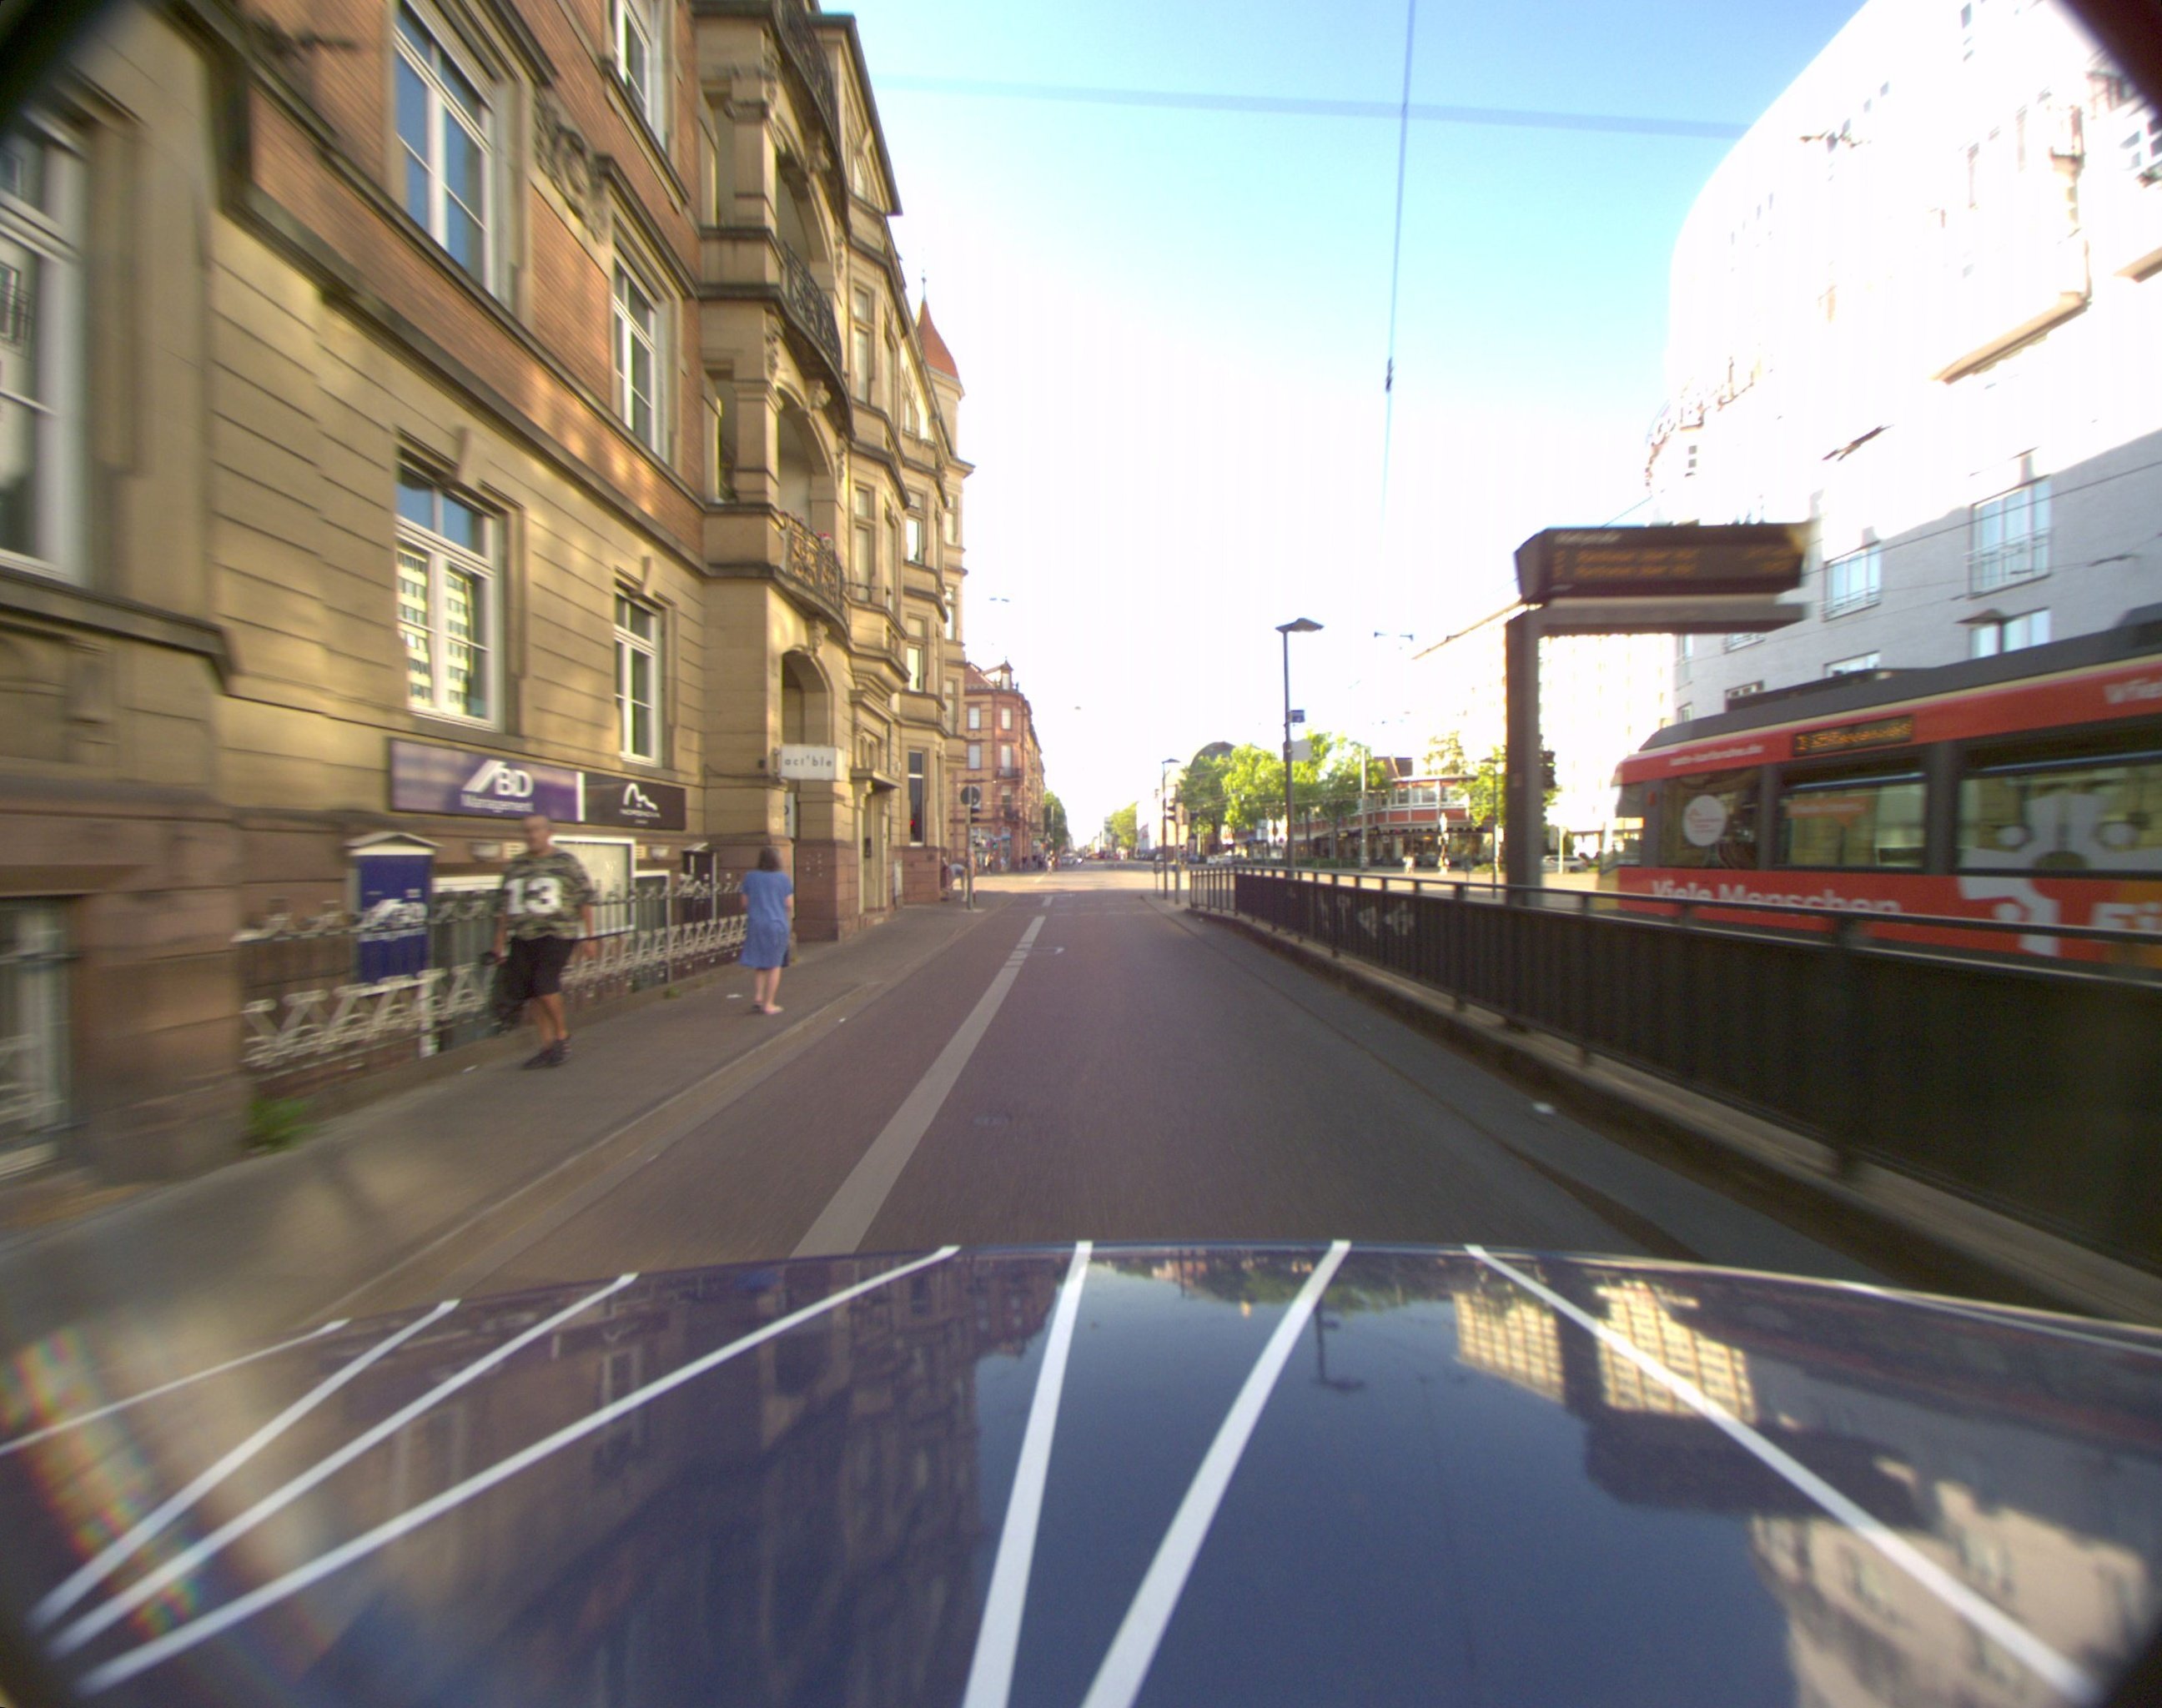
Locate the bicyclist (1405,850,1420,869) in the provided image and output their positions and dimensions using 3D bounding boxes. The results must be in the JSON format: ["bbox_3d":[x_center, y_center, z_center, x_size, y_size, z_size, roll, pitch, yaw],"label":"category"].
[{"bbox_3d":[25.986,0.436,59.579,0.842,1.458,0.897,1,0,10],"label":"bicyclist"}]

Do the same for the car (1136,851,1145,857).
[{"bbox_3d":[17.181,0.047,219.761,1.965,1.594,3.999,-1,1,-2],"label":"car"}]

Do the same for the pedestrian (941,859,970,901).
[{"bbox_3d":[-4.082,0.833,24.771,0.796,1.324,0.719,2,2,-2],"label":"pedestrian"}]

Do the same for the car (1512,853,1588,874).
[{"bbox_3d":[34.950,0.700,56.755,4.446,1.413,1.893,1,1,17],"label":"car"}]

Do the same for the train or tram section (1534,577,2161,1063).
[{"bbox_3d":[9.168,-0.276,5.886,2.892,3.470,14.164,-2,1,0],"label":"train or tram section"}]

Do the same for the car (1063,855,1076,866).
[{"bbox_3d":[-1.743,1.008,114.571,1.670,1.674,4.001,0,0,3],"label":"car"}]

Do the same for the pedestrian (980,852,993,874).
[{"bbox_3d":[-7.936,0.749,63.898,1.026,1.796,1.083,0,1,-3],"label":"pedestrian"}]

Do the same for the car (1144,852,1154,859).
[{"bbox_3d":[17.303,0.365,194.009,1.965,1.594,3.999,-1,1,-2],"label":"car"}]

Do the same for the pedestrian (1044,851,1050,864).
[{"bbox_3d":[-4.583,0.414,101.351,0.701,1.713,0.681,2,1,1],"label":"pedestrian"}]

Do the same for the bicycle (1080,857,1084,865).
[{"bbox_3d":[0.162,1.048,118.715,0.646,1.176,1.804,0,0,-3],"label":"bicycle"}]

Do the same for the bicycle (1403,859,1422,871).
[{"bbox_3d":[25.983,0.885,59.592,0.842,0.921,2.267,1,0,10],"label":"bicycle"}]

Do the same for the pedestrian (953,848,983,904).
[{"bbox_3d":[-3.578,0.690,24.081,0.796,1.711,0.719,2,2,-2],"label":"pedestrian"}]

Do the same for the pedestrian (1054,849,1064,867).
[{"bbox_3d":[-2.059,0.385,72.001,0.849,1.651,0.850,1,0,4],"label":"pedestrian"}]

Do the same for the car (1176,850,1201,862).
[{"bbox_3d":[18.289,0.321,129.147,4.007,1.953,1.906,-1,1,-35],"label":"car"}]

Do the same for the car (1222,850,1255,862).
[{"bbox_3d":[20.647,0.259,99.418,4.006,1.545,1.793,-1,1,-31],"label":"car"}]

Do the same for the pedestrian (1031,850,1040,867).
[{"bbox_3d":[-4.557,0.436,75.804,0.777,1.713,0.754,2,1,1],"label":"pedestrian"}]

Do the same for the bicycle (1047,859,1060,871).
[{"bbox_3d":[-2.209,0.883,61.121,0.886,0.949,1.766,0,0,3],"label":"bicycle"}]

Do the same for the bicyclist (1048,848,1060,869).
[{"bbox_3d":[-2.205,0.381,61.124,0.886,1.650,0.803,0,1,3],"label":"bicyclist"}]

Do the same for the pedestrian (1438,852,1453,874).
[{"bbox_3d":[27.567,0.681,57.457,0.870,1.671,0.697,1,-1,9],"label":"pedestrian"}]

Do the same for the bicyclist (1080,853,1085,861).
[{"bbox_3d":[0.226,0.467,118.745,0.646,1.176,0.723,0,1,-3],"label":"bicyclist"}]

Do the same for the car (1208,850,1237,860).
[{"bbox_3d":[20.530,0.130,110.205,4.006,1.466,1.793,-1,1,-31],"label":"car"}]

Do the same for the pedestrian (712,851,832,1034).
[{"bbox_3d":[-2.943,0.808,7.324,0.764,1.636,0.832,2,0,0],"label":"pedestrian"}]

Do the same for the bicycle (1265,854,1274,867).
[{"bbox_3d":[18.701,0.619,75.425,0.582,1.227,1.857,-1,0,6],"label":"bicycle"}]

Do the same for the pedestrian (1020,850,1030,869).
[{"bbox_3d":[-5.118,0.530,69.357,0.777,1.713,0.754,2,1,1],"label":"pedestrian"}]

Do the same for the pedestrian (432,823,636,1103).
[{"bbox_3d":[-3.816,0.719,5.376,0.803,1.813,0.797,2,0,0],"label":"pedestrian"}]

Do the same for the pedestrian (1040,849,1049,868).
[{"bbox_3d":[-3.663,0.418,75.587,0.824,1.883,0.754,2,1,1],"label":"pedestrian"}]

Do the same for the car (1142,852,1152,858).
[{"bbox_3d":[17.412,0.345,200.606,1.965,1.594,3.999,-1,1,-2],"label":"car"}]

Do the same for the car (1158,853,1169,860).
[{"bbox_3d":[18.067,0.509,167.051,1.910,1.594,3.999,-1,1,-2],"label":"car"}]
